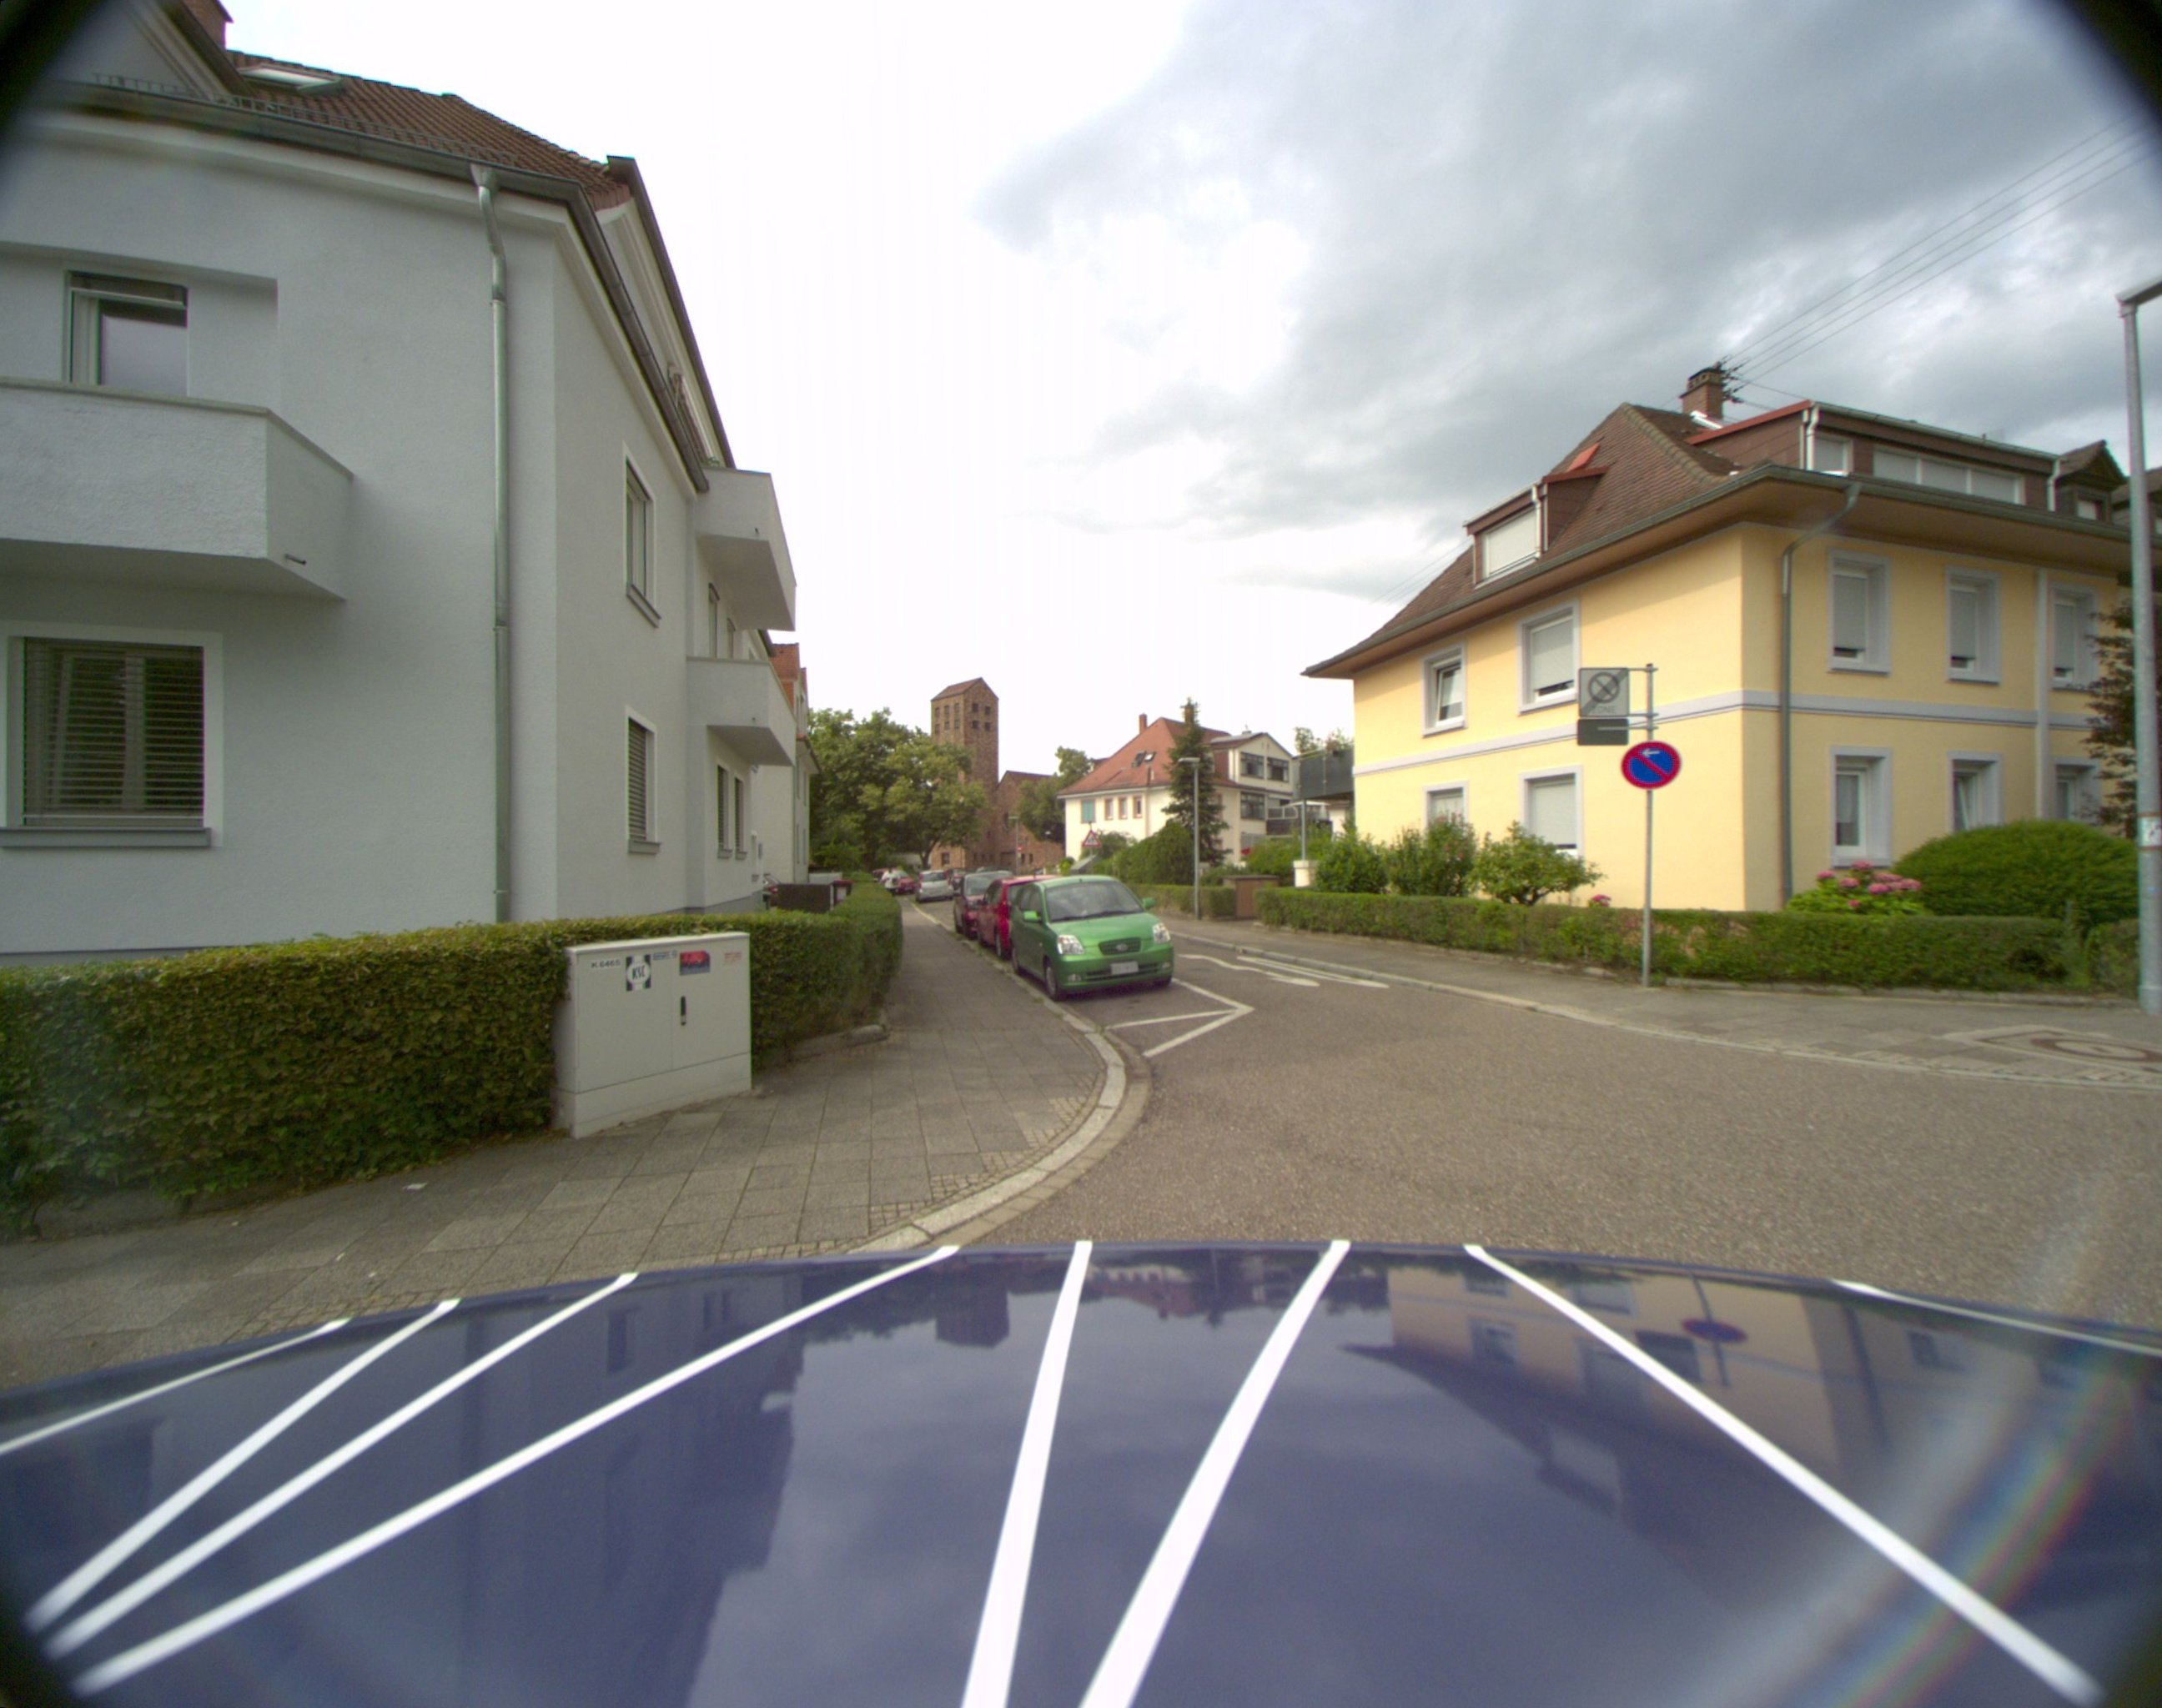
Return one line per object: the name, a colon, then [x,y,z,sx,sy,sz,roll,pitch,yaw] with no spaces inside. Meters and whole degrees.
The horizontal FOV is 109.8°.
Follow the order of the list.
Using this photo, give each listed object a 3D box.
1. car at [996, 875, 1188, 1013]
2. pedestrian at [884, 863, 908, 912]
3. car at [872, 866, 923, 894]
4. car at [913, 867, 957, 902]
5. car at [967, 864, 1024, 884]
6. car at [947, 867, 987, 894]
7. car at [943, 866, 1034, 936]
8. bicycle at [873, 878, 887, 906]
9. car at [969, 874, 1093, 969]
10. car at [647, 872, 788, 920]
car: [-0.024,1.089,10.630,1.652,1.413,3.476,-4,1,-16]
pedestrian: [-7.330,1.308,30.059,0.884,1.867,1.077,0,0,-15]
car: [-11.025,1.545,45.497,1.653,1.487,3.473,-4,1,-37]
car: [-7.150,1.438,37.018,1.652,1.487,3.476,-4,1,-16]
car: [-6.663,1.532,59.333,4.230,1.456,1.681,0,1,-16]
car: [-6.850,1.537,45.409,1.856,1.472,4.036,2,-1,-16]
car: [-2.434,1.093,19.221,1.652,1.487,3.476,-4,1,-16]
bicycle: [-8.733,1.636,33.017,0.423,1.097,2.112,0,0,-20]
car: [-1.112,1.223,15.091,1.652,1.487,3.476,-4,1,-16]
car: [-12.194,1.381,25.790,4.002,1.455,1.997,0,0,-15]
